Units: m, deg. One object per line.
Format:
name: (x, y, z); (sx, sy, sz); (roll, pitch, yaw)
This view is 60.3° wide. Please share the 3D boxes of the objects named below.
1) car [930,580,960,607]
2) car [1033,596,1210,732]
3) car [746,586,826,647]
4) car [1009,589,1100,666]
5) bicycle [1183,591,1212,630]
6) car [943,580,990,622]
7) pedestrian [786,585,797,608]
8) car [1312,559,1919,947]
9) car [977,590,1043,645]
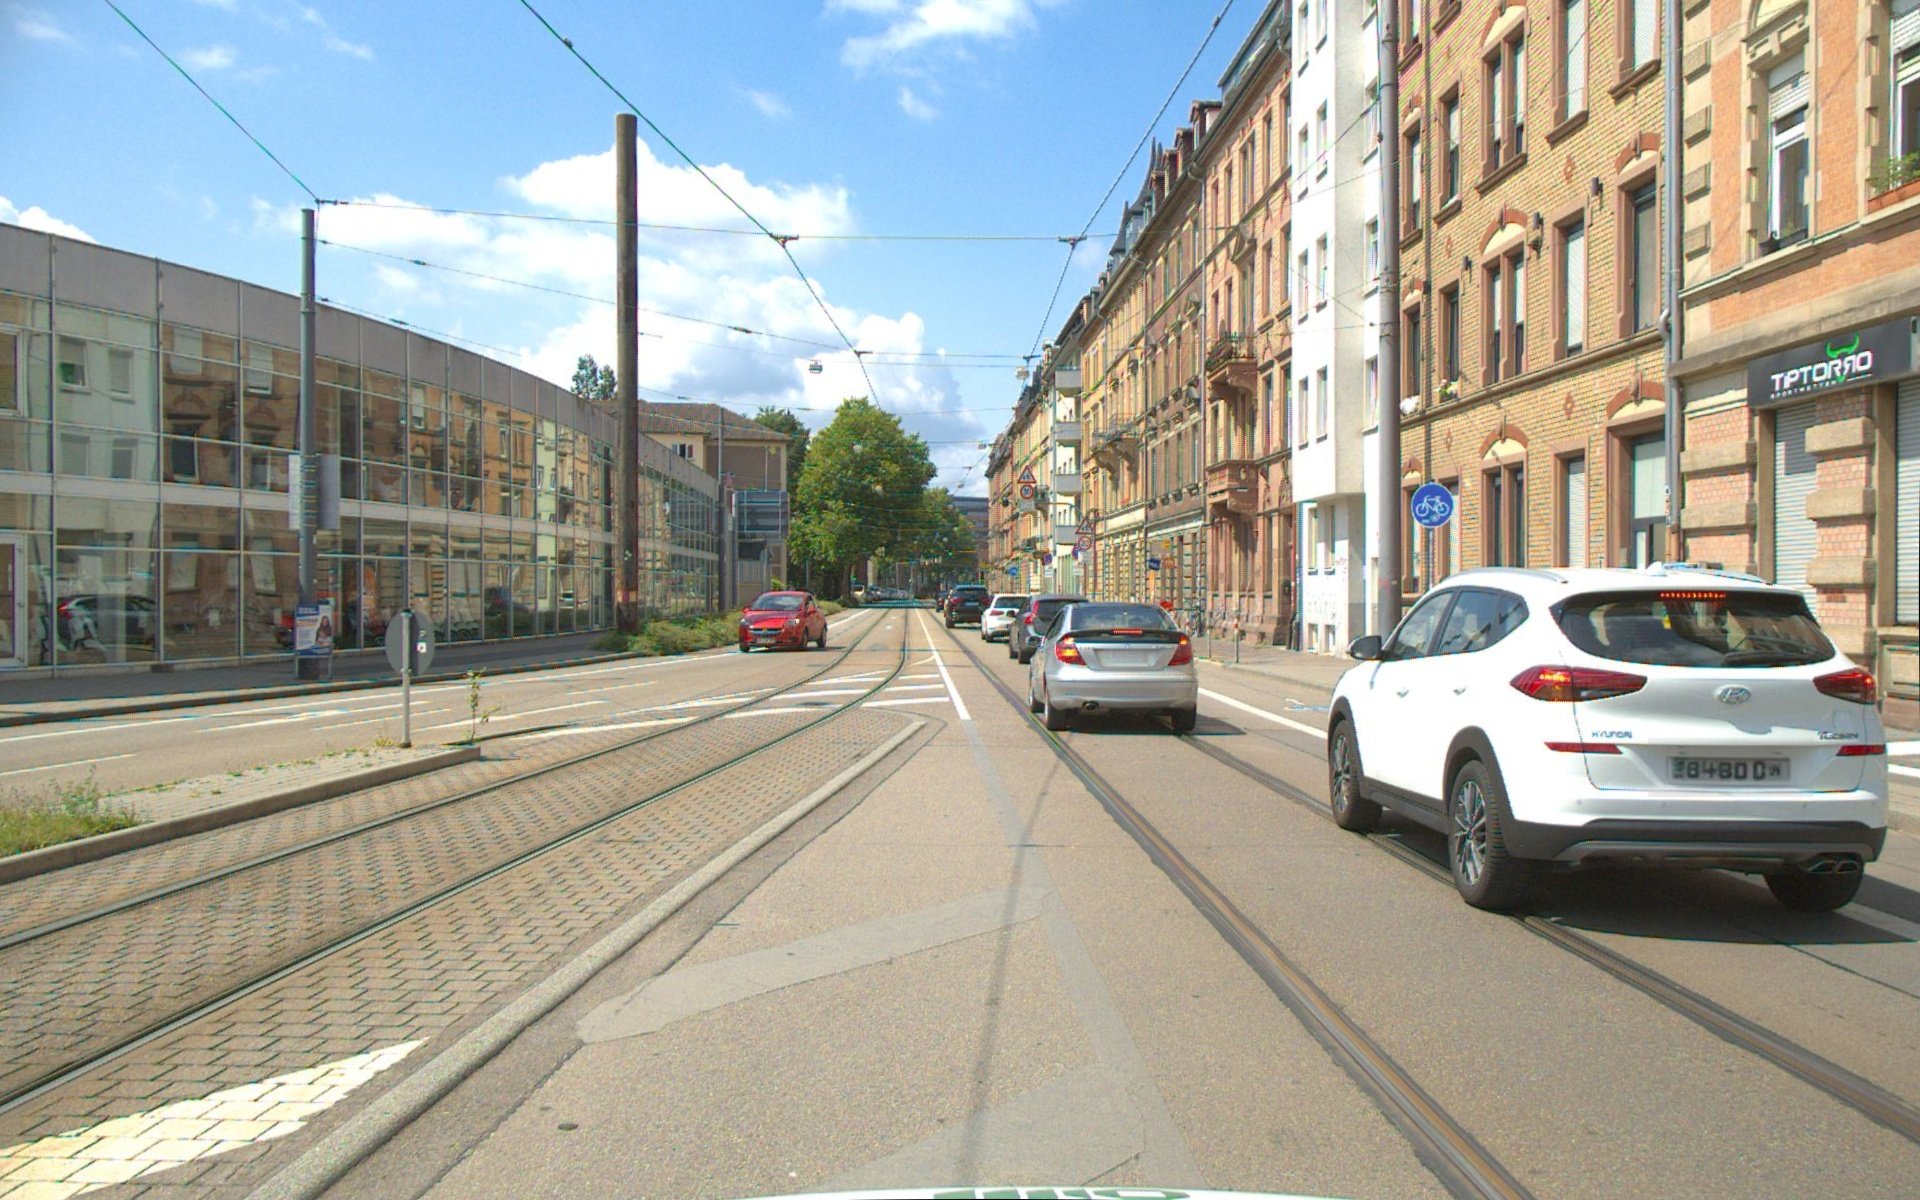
car: (-1.080, -0.506, 117.908); (1.954, 1.892, 3.998); (0, 1, -3)
car: (1.802, 0.673, 19.615); (1.777, 1.445, 4.188); (0, 0, 1)
car: (-4.396, 0.387, 42.141); (1.667, 1.453, 3.901); (0, 1, -1)
car: (1.999, 0.550, 35.864); (1.777, 1.550, 4.086); (0, 1, 1)
bicycle: (7.629, 0.334, 53.106); (0.574, 1.199, 2.204); (-1, 1, -1)
car: (0.247, 0.013, 68.803); (1.778, 1.691, 4.084); (0, 0, -2)
pedestrian: (-14.330, -0.285, 140.539); (0.862, 1.898, 1.080); (-1, 0, -2)
car: (3.379, 0.658, 9.288); (1.814, 1.662, 4.180); (1, 0, -1)
car: (1.481, 0.500, 50.618); (1.778, 1.550, 3.954); (0, 1, -2)
